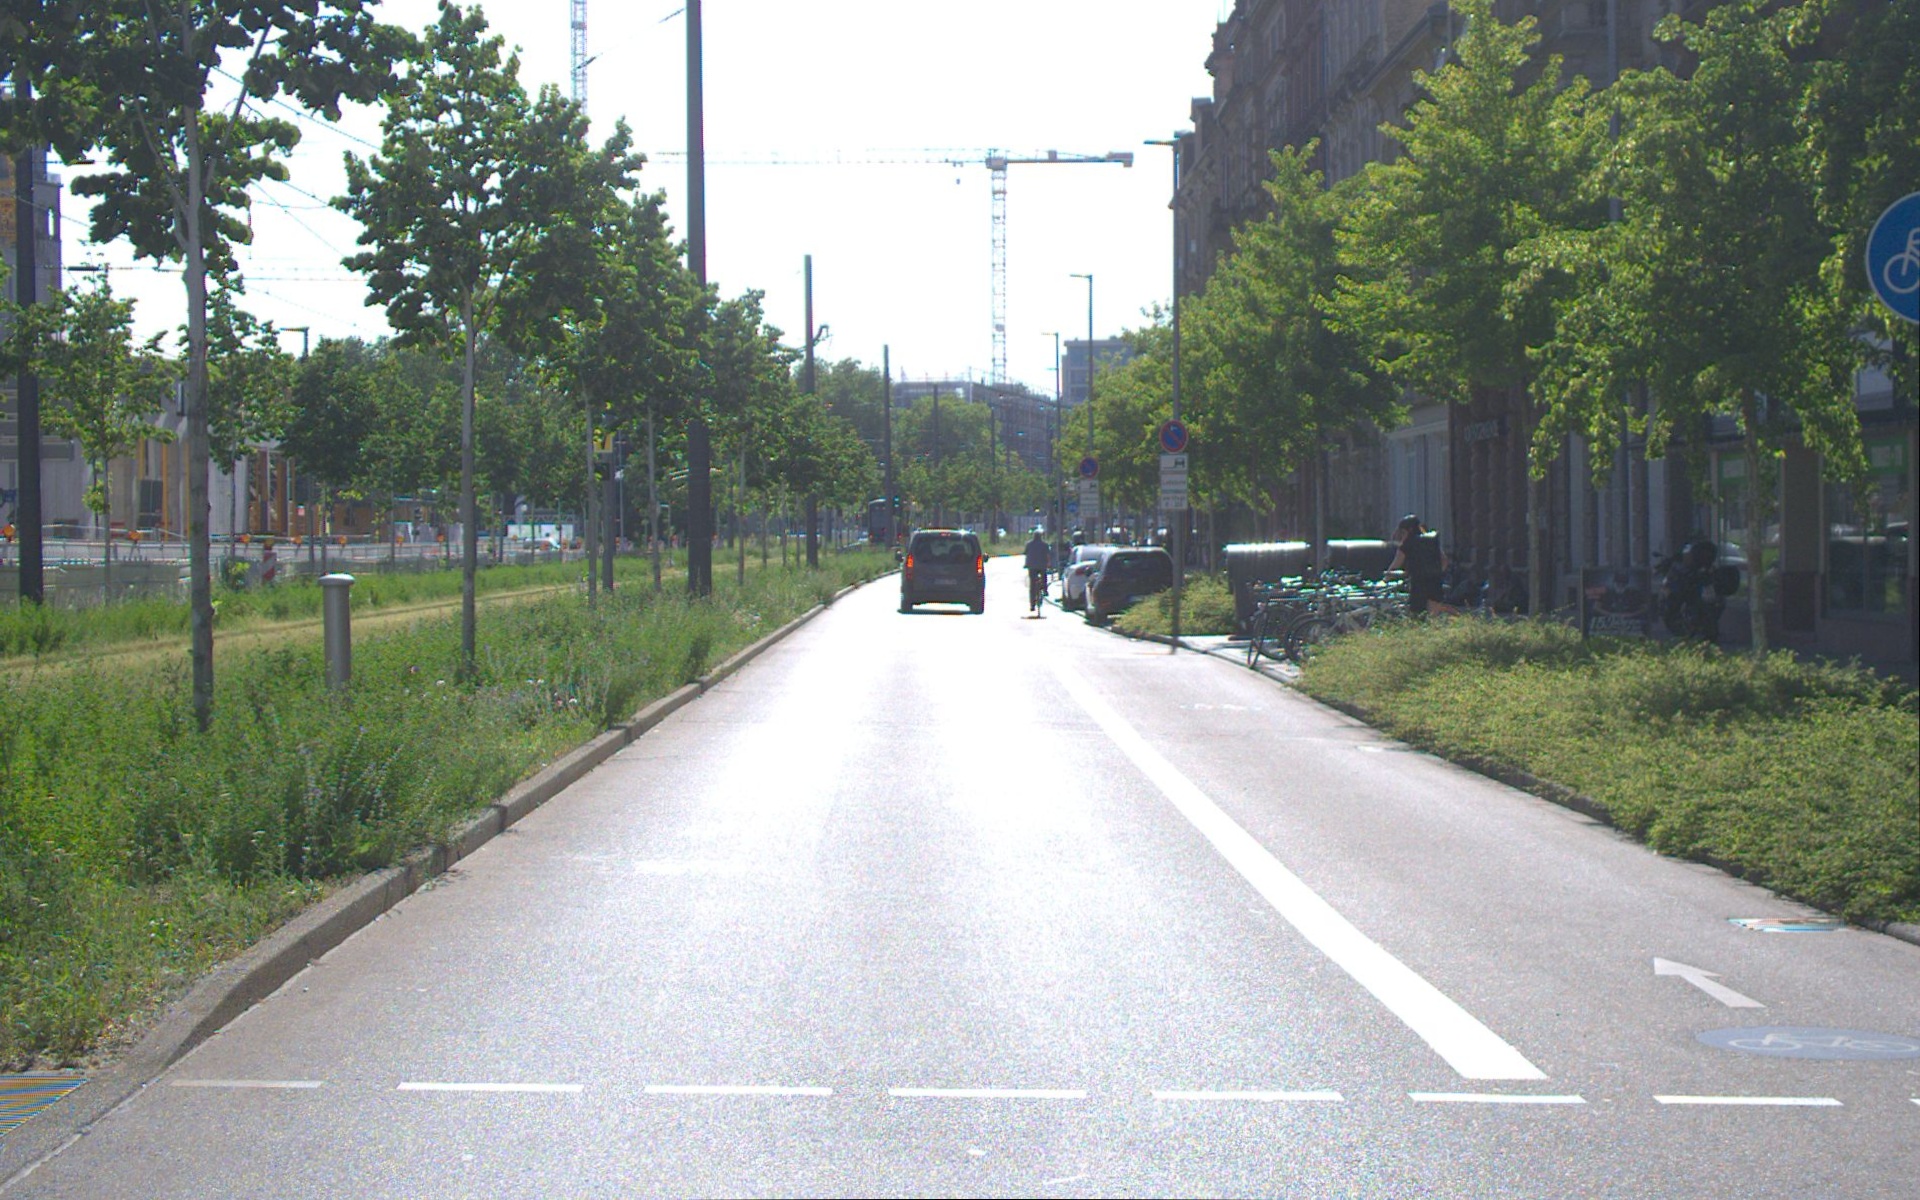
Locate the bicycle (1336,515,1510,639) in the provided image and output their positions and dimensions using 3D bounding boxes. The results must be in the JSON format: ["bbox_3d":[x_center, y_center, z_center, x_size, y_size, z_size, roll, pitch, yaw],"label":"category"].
[{"bbox_3d":[5.531,-0.283,41.116,1.893,1.326,0.617,-5,1,0],"label":"bicycle"}]

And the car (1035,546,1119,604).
[{"bbox_3d":[3.122,-0.696,92.310,2.028,1.493,4.530,-1,1,-1],"label":"car"}]

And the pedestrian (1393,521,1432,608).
[{"bbox_3d":[8.437,-0.666,64.122,0.614,1.606,0.669,-1,1,-1],"label":"pedestrian"}]

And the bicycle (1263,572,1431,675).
[{"bbox_3d":[4.444,0.265,39.540,1.792,1.027,0.527,-5,1,0],"label":"bicycle"}]

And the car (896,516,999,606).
[{"bbox_3d":[-0.303,-0.885,76.371,2.200,1.919,4.654,-1,1,-1],"label":"car"}]

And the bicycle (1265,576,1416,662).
[{"bbox_3d":[4.694,0.235,42.482,1.792,1.027,0.527,-1,1,0],"label":"bicycle"}]

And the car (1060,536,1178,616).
[{"bbox_3d":[3.080,-0.497,67.396,2.028,1.493,4.654,-1,1,-1],"label":"car"}]

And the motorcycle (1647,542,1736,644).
[{"bbox_3d":[9.385,-0.105,44.166,0.700,1.263,1.982,-1,1,-1],"label":"motorcycle"}]

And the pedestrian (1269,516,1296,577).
[{"bbox_3d":[8.571,-1.421,91.378,0.614,1.606,0.669,-1,1,-1],"label":"pedestrian"}]

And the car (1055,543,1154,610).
[{"bbox_3d":[3.330,-0.565,79.782,2.028,1.493,4.530,-1,1,-1],"label":"car"}]

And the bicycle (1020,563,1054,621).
[{"bbox_3d":[1.613,-0.173,72.042,0.601,1.177,1.869,2,1,-1],"label":"bicycle"}]

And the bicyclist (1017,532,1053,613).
[{"bbox_3d":[1.573,-0.583,72.189,0.684,1.667,0.922,2,1,-1],"label":"bicyclist"}]

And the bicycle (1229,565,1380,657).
[{"bbox_3d":[4.393,0.140,43.911,1.792,1.027,0.527,-5,1,0],"label":"bicycle"}]

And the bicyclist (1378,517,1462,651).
[{"bbox_3d":[5.494,-0.194,41.105,0.798,1.525,0.662,-5,1,0],"label":"bicyclist"}]

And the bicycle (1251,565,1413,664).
[{"bbox_3d":[4.417,0.168,40.912,1.792,1.027,0.527,-5,1,0],"label":"bicycle"}]
